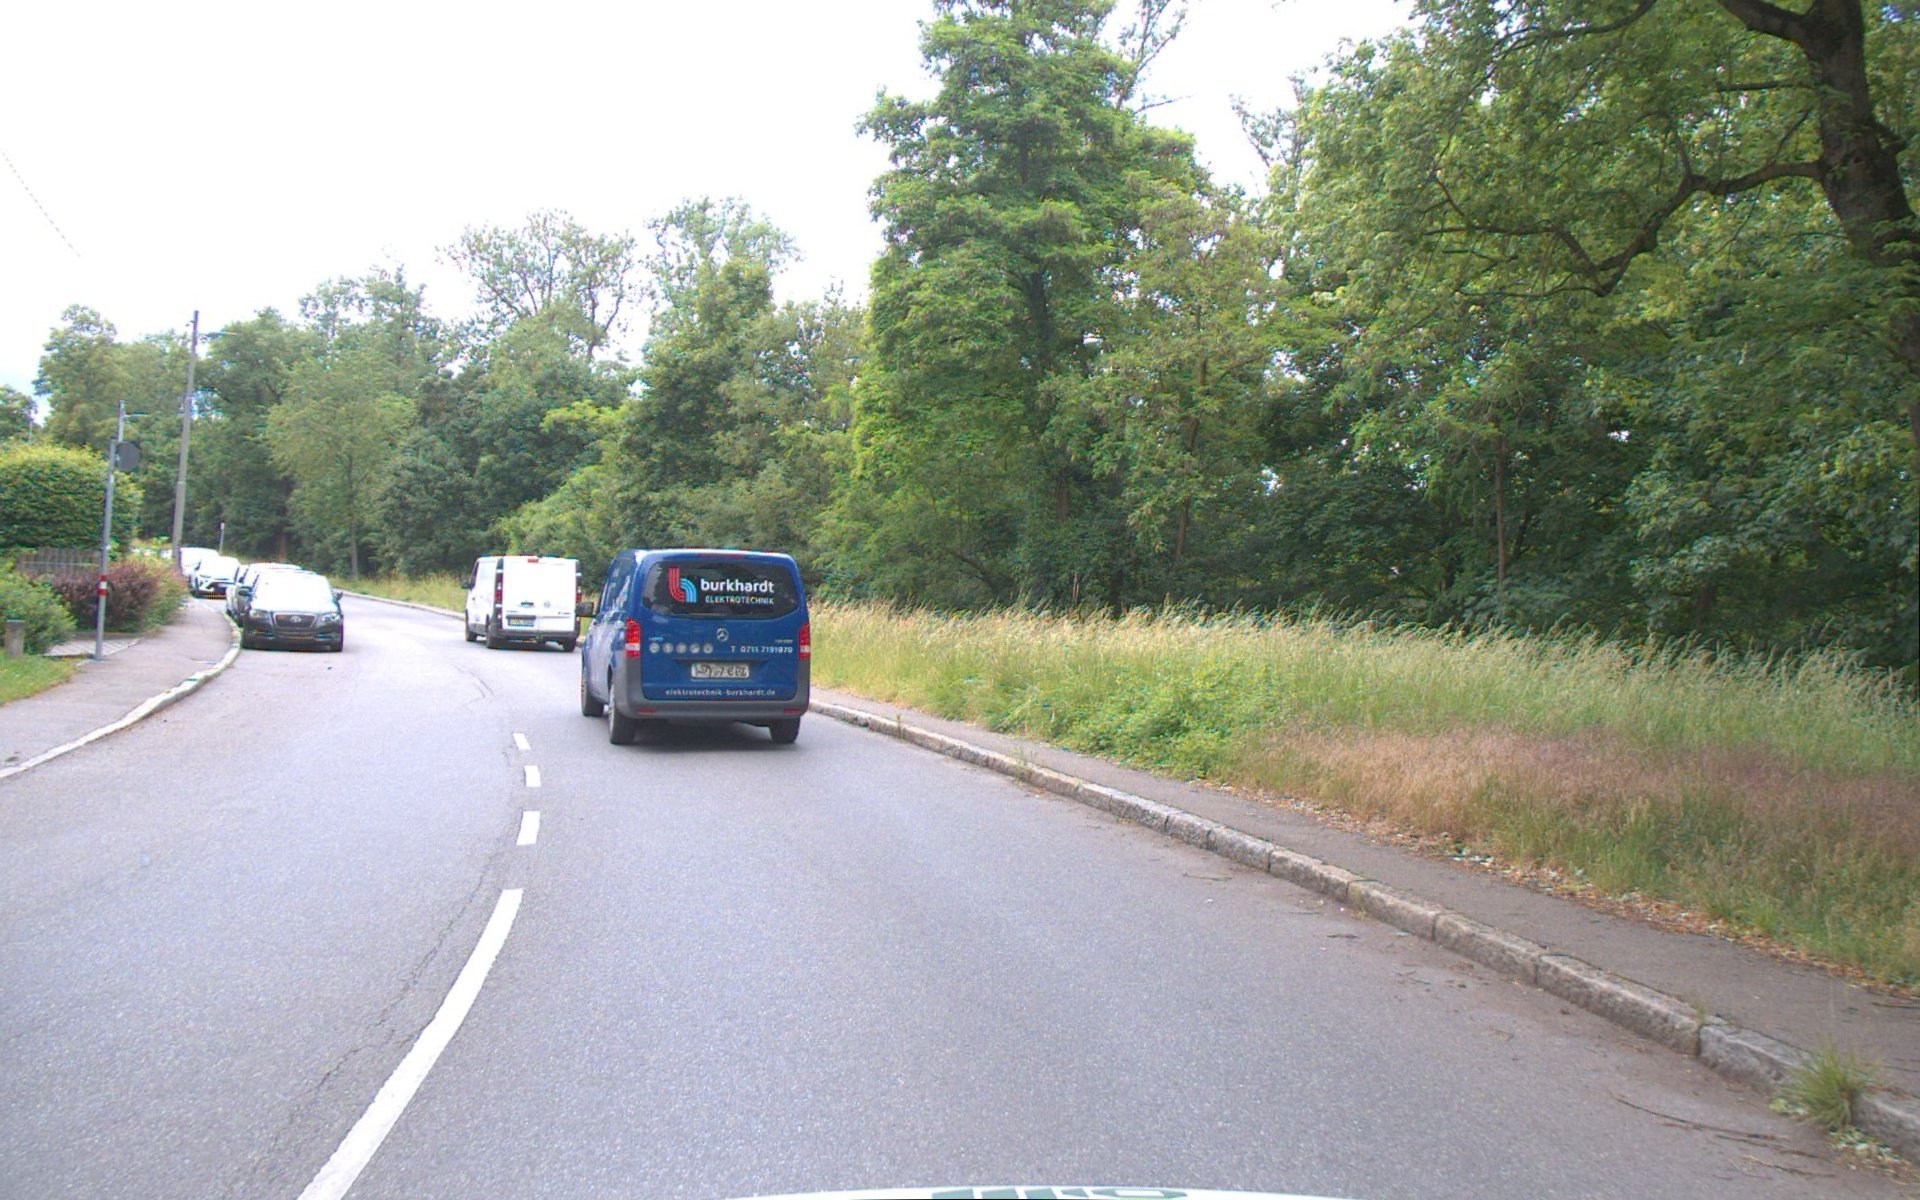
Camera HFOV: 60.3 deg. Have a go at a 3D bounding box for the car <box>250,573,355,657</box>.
[{"bbox_3d":[-12.869,0.247,32.245,1.712,1.443,4.471,3,0,-24],"label":"car"}]

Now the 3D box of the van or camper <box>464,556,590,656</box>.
[{"bbox_3d":[-9.564,0.076,36.276,1.992,1.991,4.863,2,1,-23],"label":"van or camper"}]

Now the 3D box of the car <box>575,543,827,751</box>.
[{"bbox_3d":[-2.846,0.430,17.334,1.884,1.870,4.271,2,0,-18],"label":"car"}]
